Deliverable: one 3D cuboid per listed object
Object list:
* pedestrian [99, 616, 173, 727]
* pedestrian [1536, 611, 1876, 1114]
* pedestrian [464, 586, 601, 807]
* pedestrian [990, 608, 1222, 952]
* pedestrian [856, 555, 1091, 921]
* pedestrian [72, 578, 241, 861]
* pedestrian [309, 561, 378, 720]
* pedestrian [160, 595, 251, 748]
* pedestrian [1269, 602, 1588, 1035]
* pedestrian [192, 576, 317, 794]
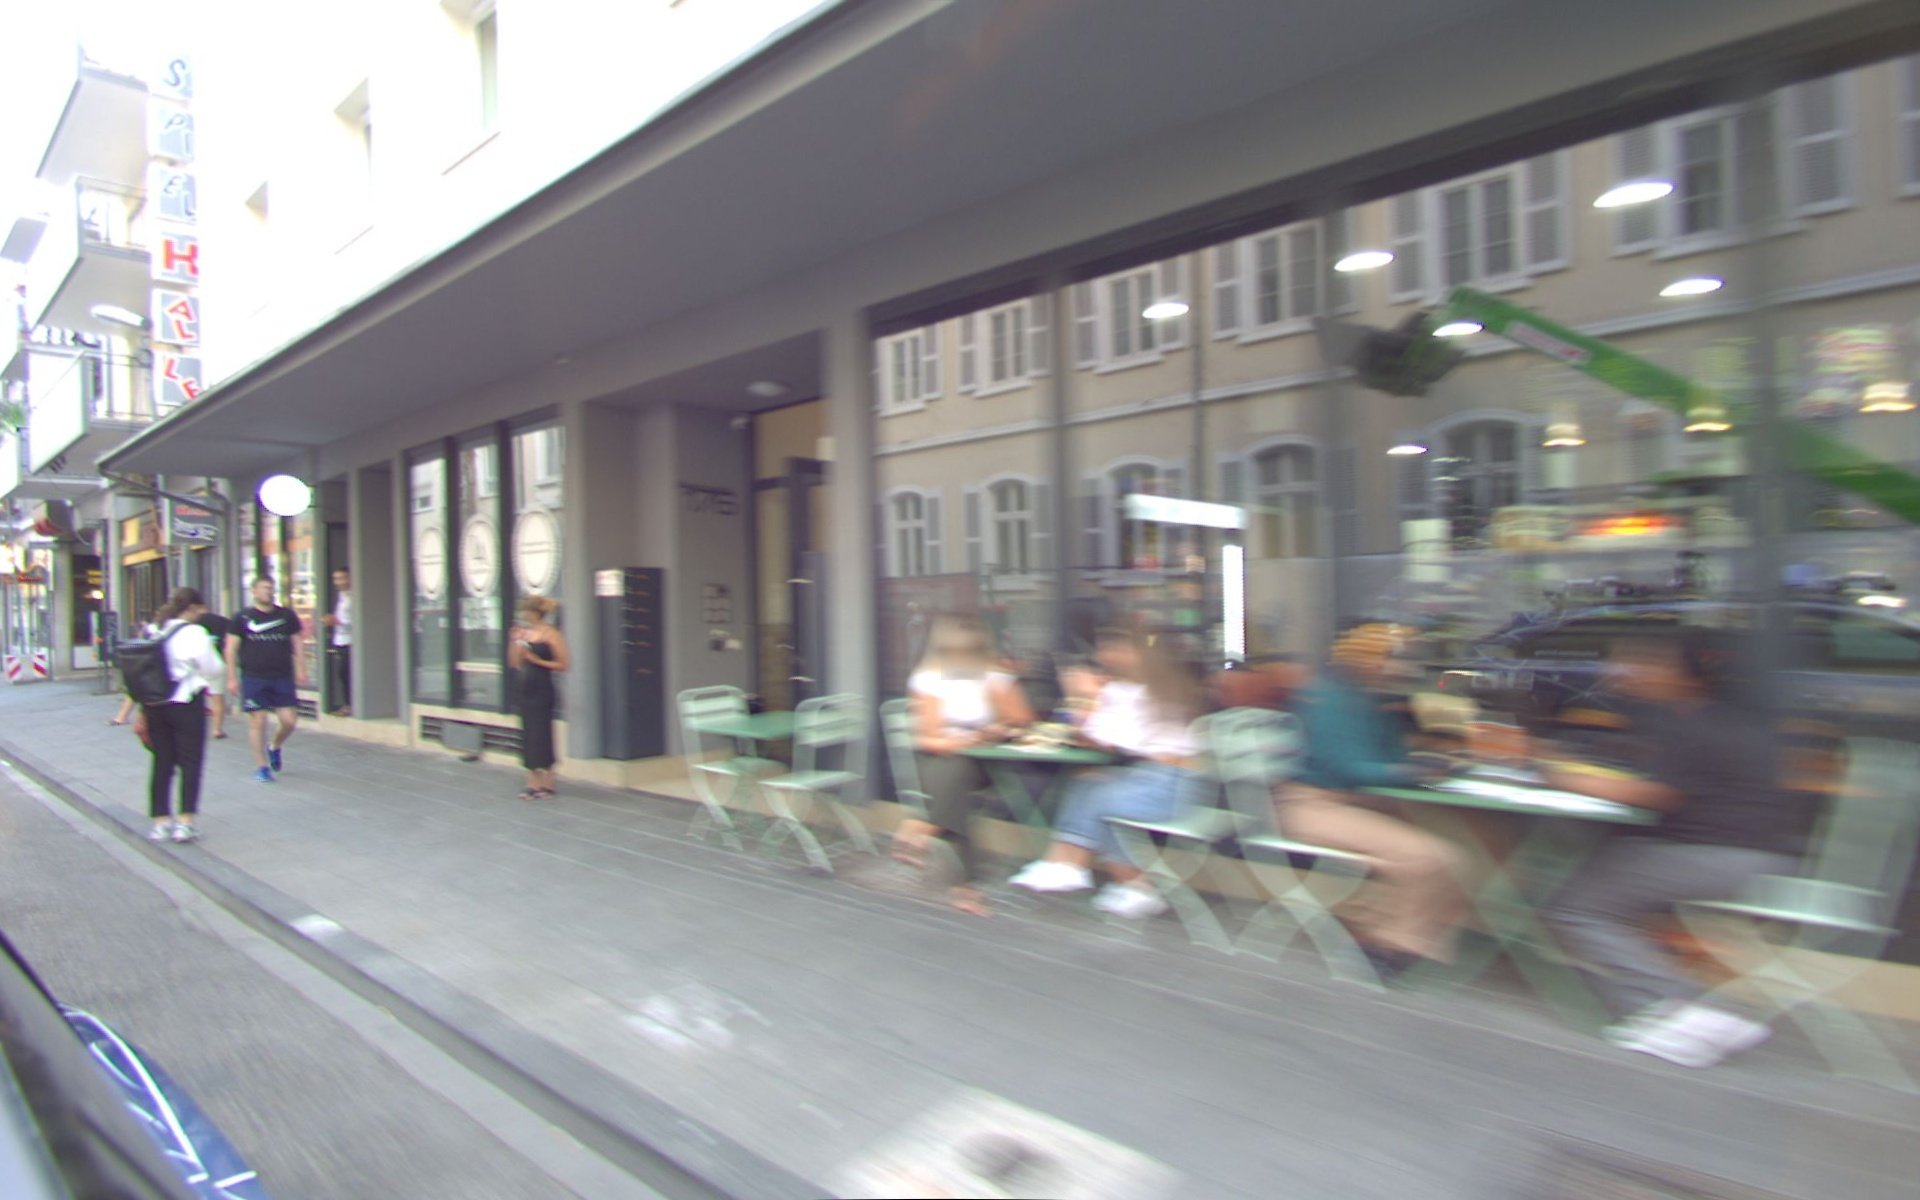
[{"bbox_3d":[-12.398,1.060,15.230,0.612,1.590,0.702,-2,1,38],"label":"pedestrian"},{"bbox_3d":[2.212,0.663,2.996,0.691,1.204,0.696,-2,2,44],"label":"pedestrian"},{"bbox_3d":[-3.215,0.697,7.650,0.632,1.581,0.655,-2,0,15],"label":"pedestrian"},{"bbox_3d":[0.645,0.700,4.312,0.853,1.296,0.702,-2,0,17],"label":"pedestrian"},{"bbox_3d":[0.053,0.590,4.871,0.695,1.559,0.862,-1,-1,-41],"label":"pedestrian"},{"bbox_3d":[-5.361,0.761,6.816,0.746,1.753,0.787,2,-3,-31],"label":"pedestrian"},{"bbox_3d":[-7.360,0.477,12.079,0.613,1.824,0.538,-2,-2,41],"label":"pedestrian"},{"bbox_3d":[-9.323,0.848,12.498,0.932,1.795,0.697,-2,-1,41],"label":"pedestrian"},{"bbox_3d":[1.638,0.664,3.538,0.778,1.249,0.696,-2,2,44],"label":"pedestrian"},{"bbox_3d":[-6.319,0.722,9.056,0.932,1.824,0.707,-2,-1,42],"label":"pedestrian"}]
